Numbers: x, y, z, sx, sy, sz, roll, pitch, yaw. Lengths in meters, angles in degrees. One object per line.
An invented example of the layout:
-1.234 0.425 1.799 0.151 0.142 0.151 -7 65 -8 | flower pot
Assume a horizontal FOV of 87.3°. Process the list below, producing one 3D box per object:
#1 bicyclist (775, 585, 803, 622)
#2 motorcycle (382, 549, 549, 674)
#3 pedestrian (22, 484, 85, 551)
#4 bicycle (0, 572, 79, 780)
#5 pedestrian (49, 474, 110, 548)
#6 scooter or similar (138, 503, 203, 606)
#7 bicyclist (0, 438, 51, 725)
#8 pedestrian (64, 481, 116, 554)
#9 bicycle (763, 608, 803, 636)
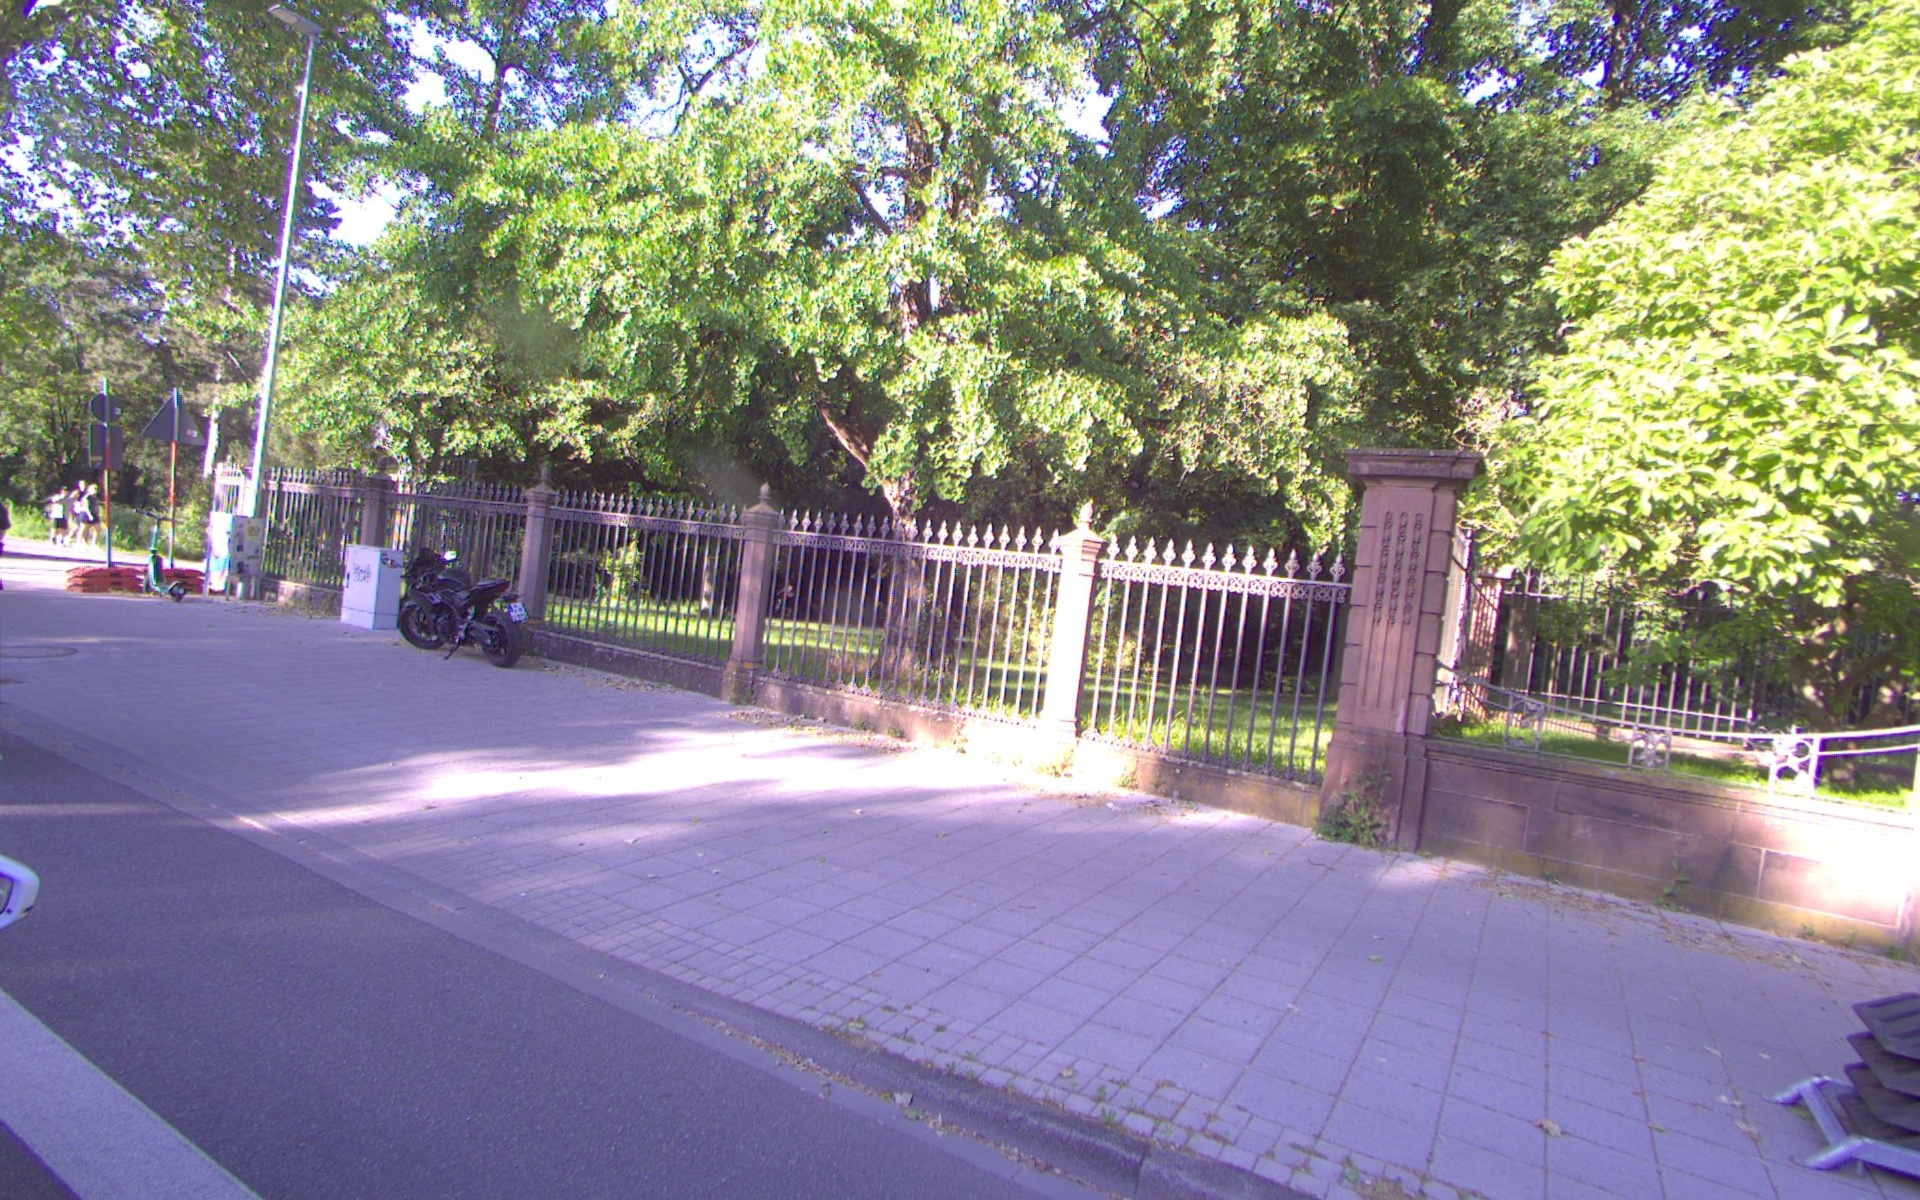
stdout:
-7.303 0.138 43.023 0.779 1.448 0.658 7 -1 -42 | bicyclist
-5.520 0.102 11.177 2.134 1.146 0.506 7 2 30 | motorcycle
-22.999 -2.089 25.521 0.900 1.536 0.820 7 -1 29 | pedestrian
-5.919 0.321 5.725 2.046 1.021 0.670 7 -1 30 | bicycle
-23.019 -2.322 26.302 0.817 1.794 0.819 7 1 25 | pedestrian
-11.176 -0.648 14.224 1.152 1.344 0.228 7 2 30 | scooter or similar
-5.845 -0.152 5.719 0.709 1.621 0.666 7 -1 30 | bicyclist
-21.938 -2.065 25.376 0.632 1.721 0.690 7 2 25 | pedestrian
-7.538 0.953 42.913 1.612 1.027 0.469 8 -1 -43 | bicycle
